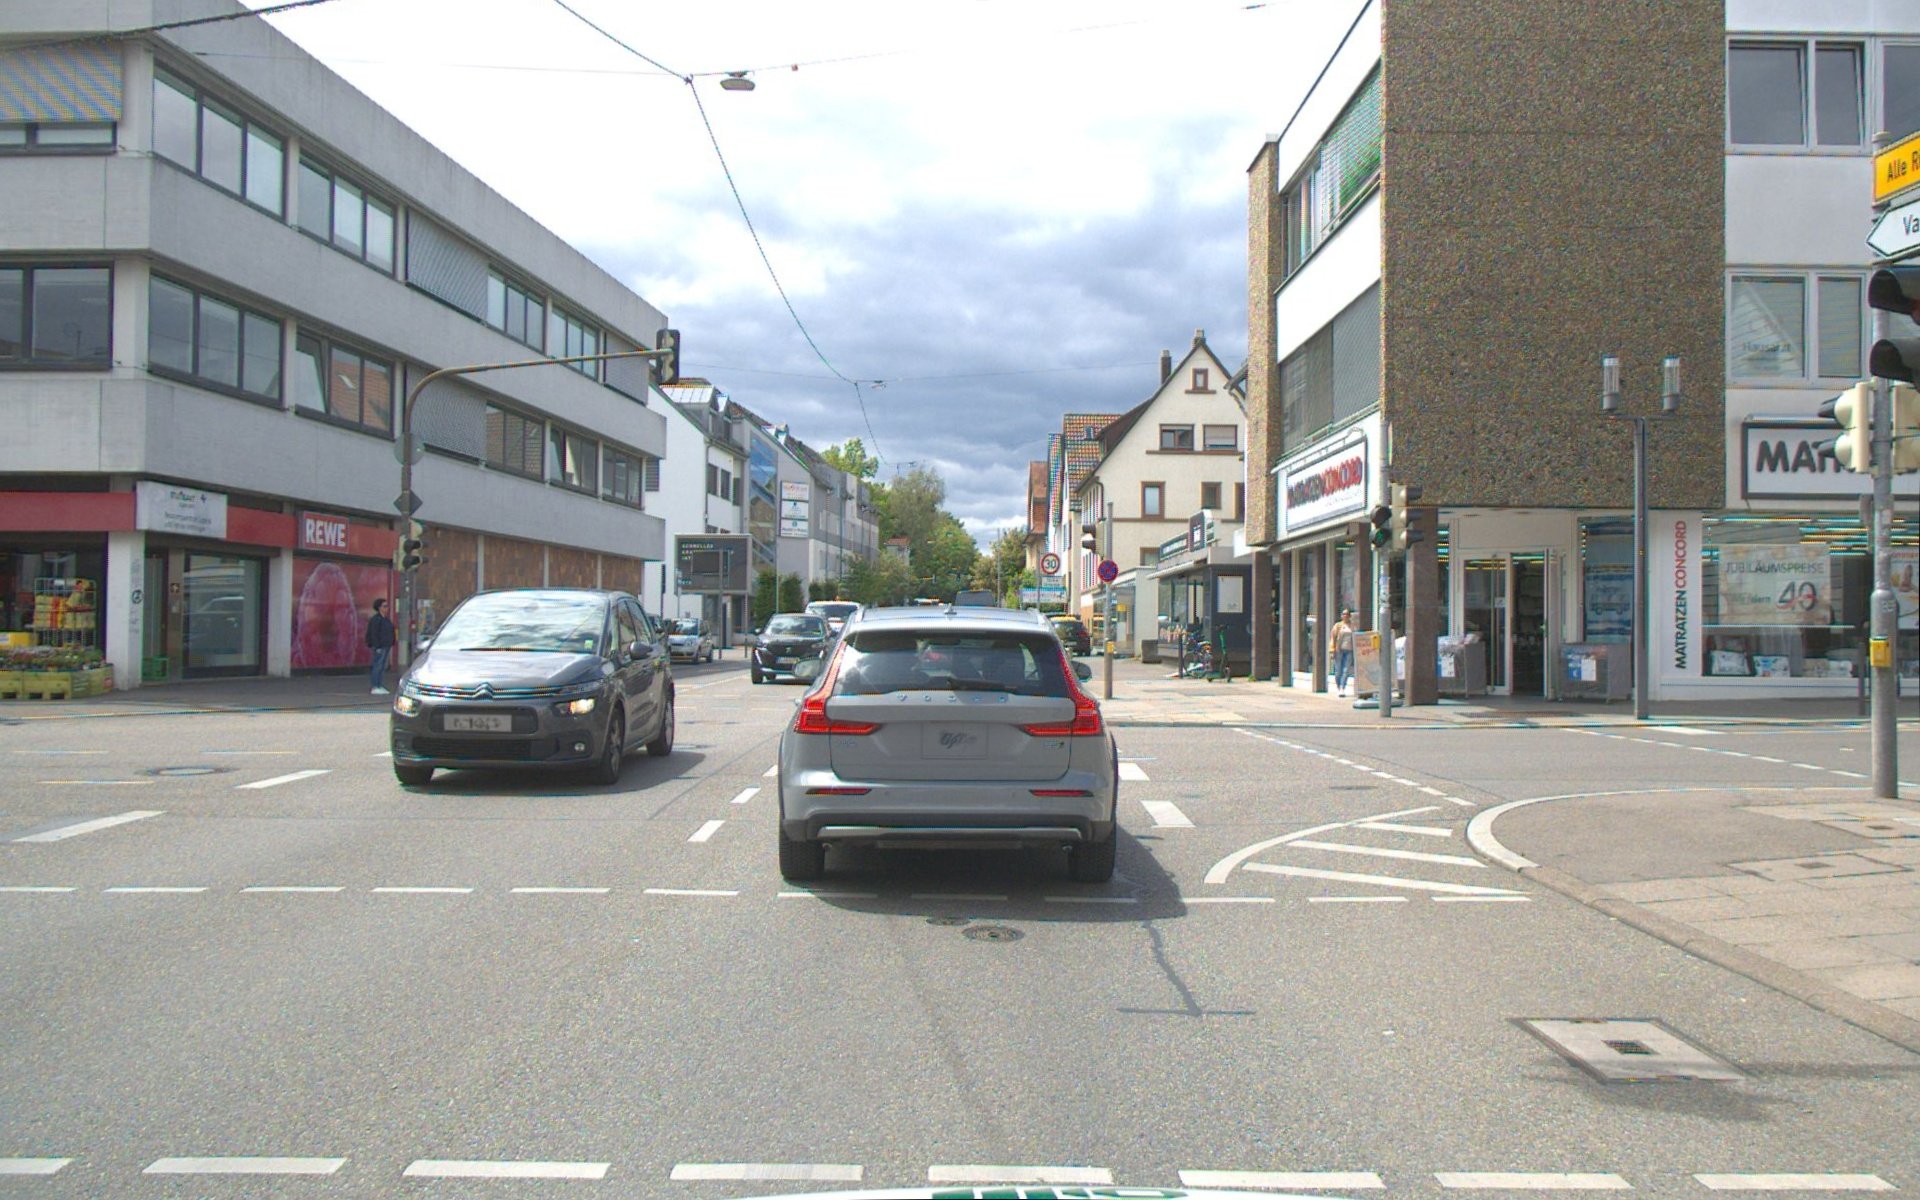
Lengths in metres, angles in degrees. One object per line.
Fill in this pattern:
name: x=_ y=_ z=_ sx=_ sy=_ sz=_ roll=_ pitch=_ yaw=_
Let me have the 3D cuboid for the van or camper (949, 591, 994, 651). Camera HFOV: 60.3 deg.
van or camper: x=0.543 y=0.968 z=77.551 sx=2.080 sy=2.733 sz=4.781 roll=0 pitch=-1 yaw=0

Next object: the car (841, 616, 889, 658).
car: x=-3.761 y=1.460 z=66.199 sx=1.634 sy=1.581 sz=4.215 roll=1 pitch=-1 yaw=0

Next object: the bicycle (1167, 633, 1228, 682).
bicycle: x=5.851 y=1.404 z=40.828 sx=0.546 sy=1.164 sz=2.288 roll=0 pitch=-1 yaw=-18

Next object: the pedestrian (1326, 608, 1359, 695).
pedestrian: x=6.651 y=0.891 z=28.786 sx=0.493 sy=1.485 sz=0.500 roll=-3 pitch=-2 yaw=13

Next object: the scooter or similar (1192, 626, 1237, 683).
scooter or similar: x=5.839 y=1.250 z=38.034 sx=0.336 sy=1.275 sz=1.235 roll=-1 pitch=-2 yaw=-26

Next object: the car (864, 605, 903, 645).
car: x=-3.862 y=1.283 z=84.055 sx=1.801 sy=1.951 sz=4.154 roll=1 pitch=-1 yaw=-1

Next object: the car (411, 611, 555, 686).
car: x=-10.456 y=1.050 z=36.584 sx=1.747 sy=1.490 sz=4.088 roll=2 pitch=-1 yaw=3

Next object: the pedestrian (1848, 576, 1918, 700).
pedestrian: x=13.168 y=0.539 z=23.602 sx=0.573 sy=1.735 sz=0.613 roll=-2 pitch=-1 yaw=-32

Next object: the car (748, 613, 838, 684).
car: x=-3.718 y=1.055 z=37.321 sx=1.648 sy=1.523 sz=3.966 roll=0 pitch=-1 yaw=0

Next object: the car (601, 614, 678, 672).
car: x=-9.284 y=1.235 z=48.054 sx=1.574 sy=1.570 sz=2.944 roll=2 pitch=-1 yaw=0

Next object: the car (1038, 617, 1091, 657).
car: x=4.136 y=1.506 z=65.742 sx=1.676 sy=1.490 sz=3.997 roll=1 pitch=-2 yaw=-2

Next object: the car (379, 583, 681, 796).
car: x=-3.648 y=0.682 z=14.756 sx=1.753 sy=1.617 sz=4.099 roll=0 pitch=0 yaw=-2

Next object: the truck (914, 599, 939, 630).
truck: x=-3.215 y=1.432 z=160.153 sx=2.229 sy=2.937 sz=7.078 roll=0 pitch=-1 yaw=0

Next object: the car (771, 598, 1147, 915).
car: x=-0.032 y=0.757 z=9.967 sx=1.798 sy=1.512 sz=3.999 roll=1 pitch=0 yaw=-1

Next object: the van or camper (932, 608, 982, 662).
van or camper: x=-0.139 y=1.327 z=60.817 sx=1.782 sy=1.867 sz=3.998 roll=1 pitch=-3 yaw=-1

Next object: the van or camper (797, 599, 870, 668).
van or camper: x=-3.701 y=0.938 z=49.175 sx=1.826 sy=1.931 sz=4.691 roll=1 pitch=0 yaw=-1

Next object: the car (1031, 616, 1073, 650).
car: x=4.389 y=1.594 z=79.286 sx=1.844 sy=1.526 sz=3.971 roll=1 pitch=-2 yaw=0

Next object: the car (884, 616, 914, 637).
car: x=-4.282 y=1.838 z=116.405 sx=1.725 sy=1.451 sz=4.002 roll=0 pitch=-1 yaw=4

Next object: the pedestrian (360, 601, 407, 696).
pedestrian: x=-10.231 y=0.859 z=29.369 sx=0.606 sy=1.670 sz=0.660 roll=0 pitch=-1 yaw=1

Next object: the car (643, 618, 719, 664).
car: x=-9.123 y=1.329 z=54.378 sx=1.719 sy=1.451 sz=3.863 roll=0 pitch=-1 yaw=2

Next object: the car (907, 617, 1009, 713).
car: x=-0.050 y=1.084 z=28.399 sx=1.617 sy=1.508 sz=3.606 roll=1 pitch=-1 yaw=-1
